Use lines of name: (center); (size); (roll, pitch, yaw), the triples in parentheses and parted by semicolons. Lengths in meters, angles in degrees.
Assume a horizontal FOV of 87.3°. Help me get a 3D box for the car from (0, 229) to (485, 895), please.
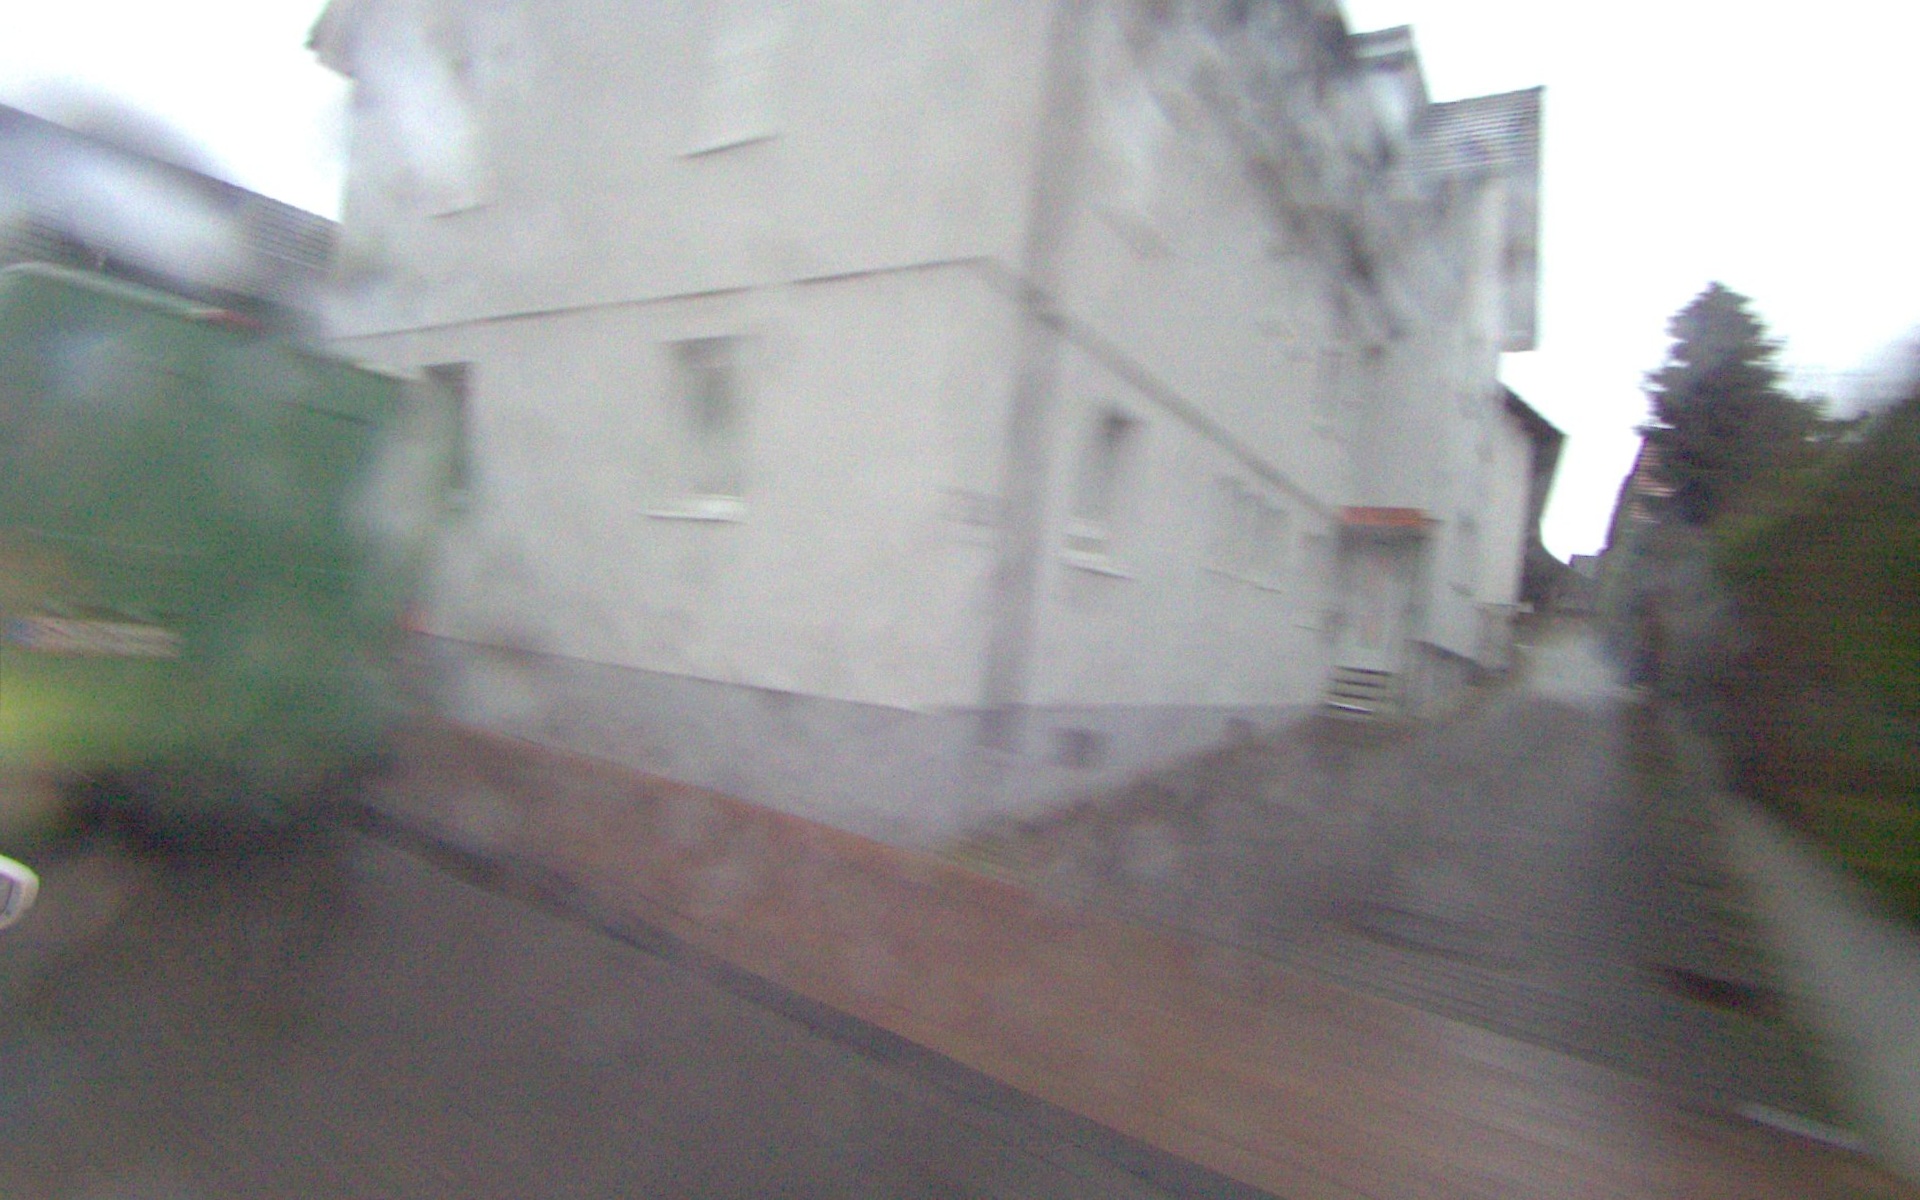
car: (-5.402, -0.285, 5.987); (5.528, 2.482, 2.010); (7, -1, 36)
